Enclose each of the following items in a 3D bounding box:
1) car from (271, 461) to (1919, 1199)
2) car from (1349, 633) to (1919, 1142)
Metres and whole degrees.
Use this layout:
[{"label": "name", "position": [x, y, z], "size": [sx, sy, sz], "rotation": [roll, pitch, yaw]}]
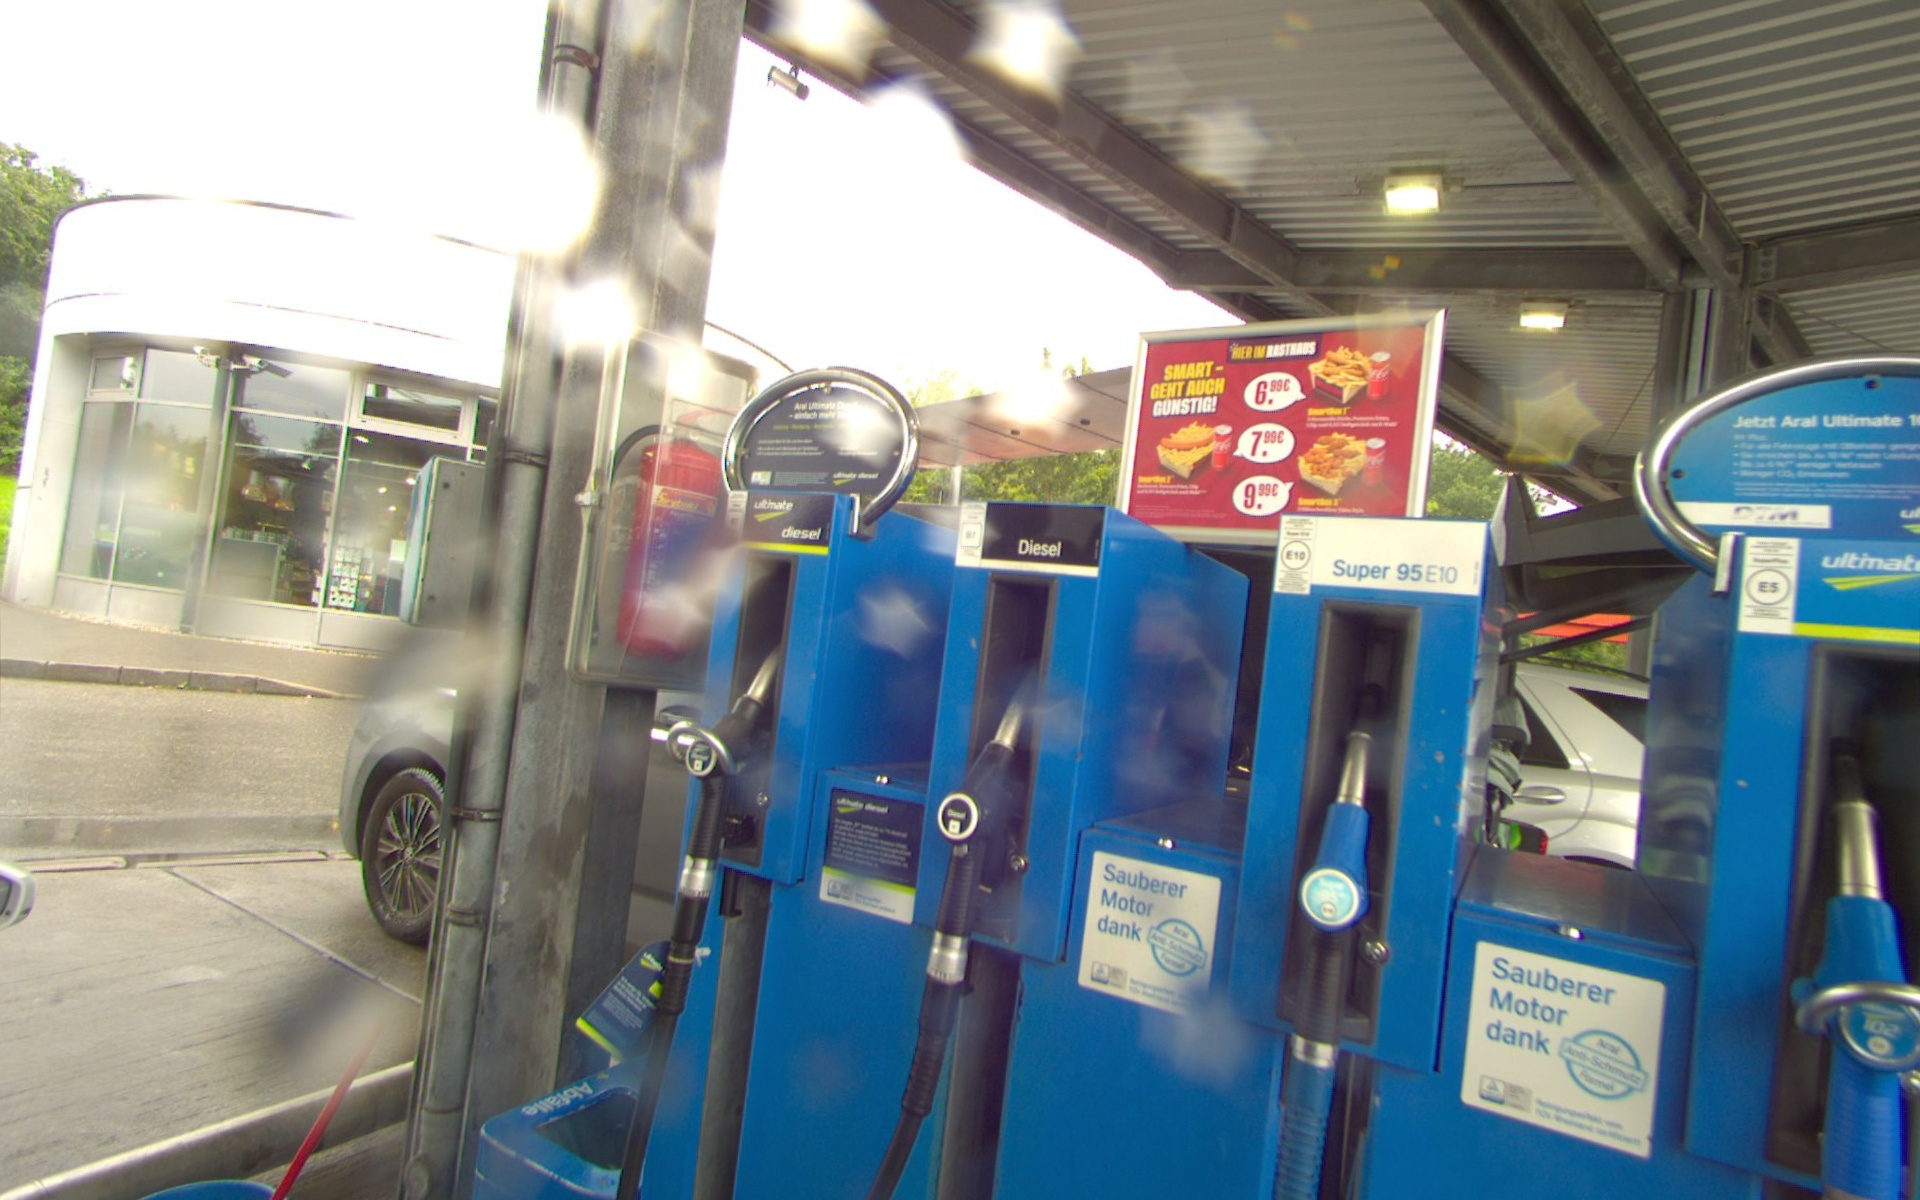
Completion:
[{"label": "car", "position": [-0.160, 0.645, 3.680], "size": [5.055, 1.819, 1.865], "rotation": [6, -2, 32]}, {"label": "car", "position": [4.477, 1.371, 4.822], "size": [4.464, 1.819, 1.865], "rotation": [6, -2, 32]}]
